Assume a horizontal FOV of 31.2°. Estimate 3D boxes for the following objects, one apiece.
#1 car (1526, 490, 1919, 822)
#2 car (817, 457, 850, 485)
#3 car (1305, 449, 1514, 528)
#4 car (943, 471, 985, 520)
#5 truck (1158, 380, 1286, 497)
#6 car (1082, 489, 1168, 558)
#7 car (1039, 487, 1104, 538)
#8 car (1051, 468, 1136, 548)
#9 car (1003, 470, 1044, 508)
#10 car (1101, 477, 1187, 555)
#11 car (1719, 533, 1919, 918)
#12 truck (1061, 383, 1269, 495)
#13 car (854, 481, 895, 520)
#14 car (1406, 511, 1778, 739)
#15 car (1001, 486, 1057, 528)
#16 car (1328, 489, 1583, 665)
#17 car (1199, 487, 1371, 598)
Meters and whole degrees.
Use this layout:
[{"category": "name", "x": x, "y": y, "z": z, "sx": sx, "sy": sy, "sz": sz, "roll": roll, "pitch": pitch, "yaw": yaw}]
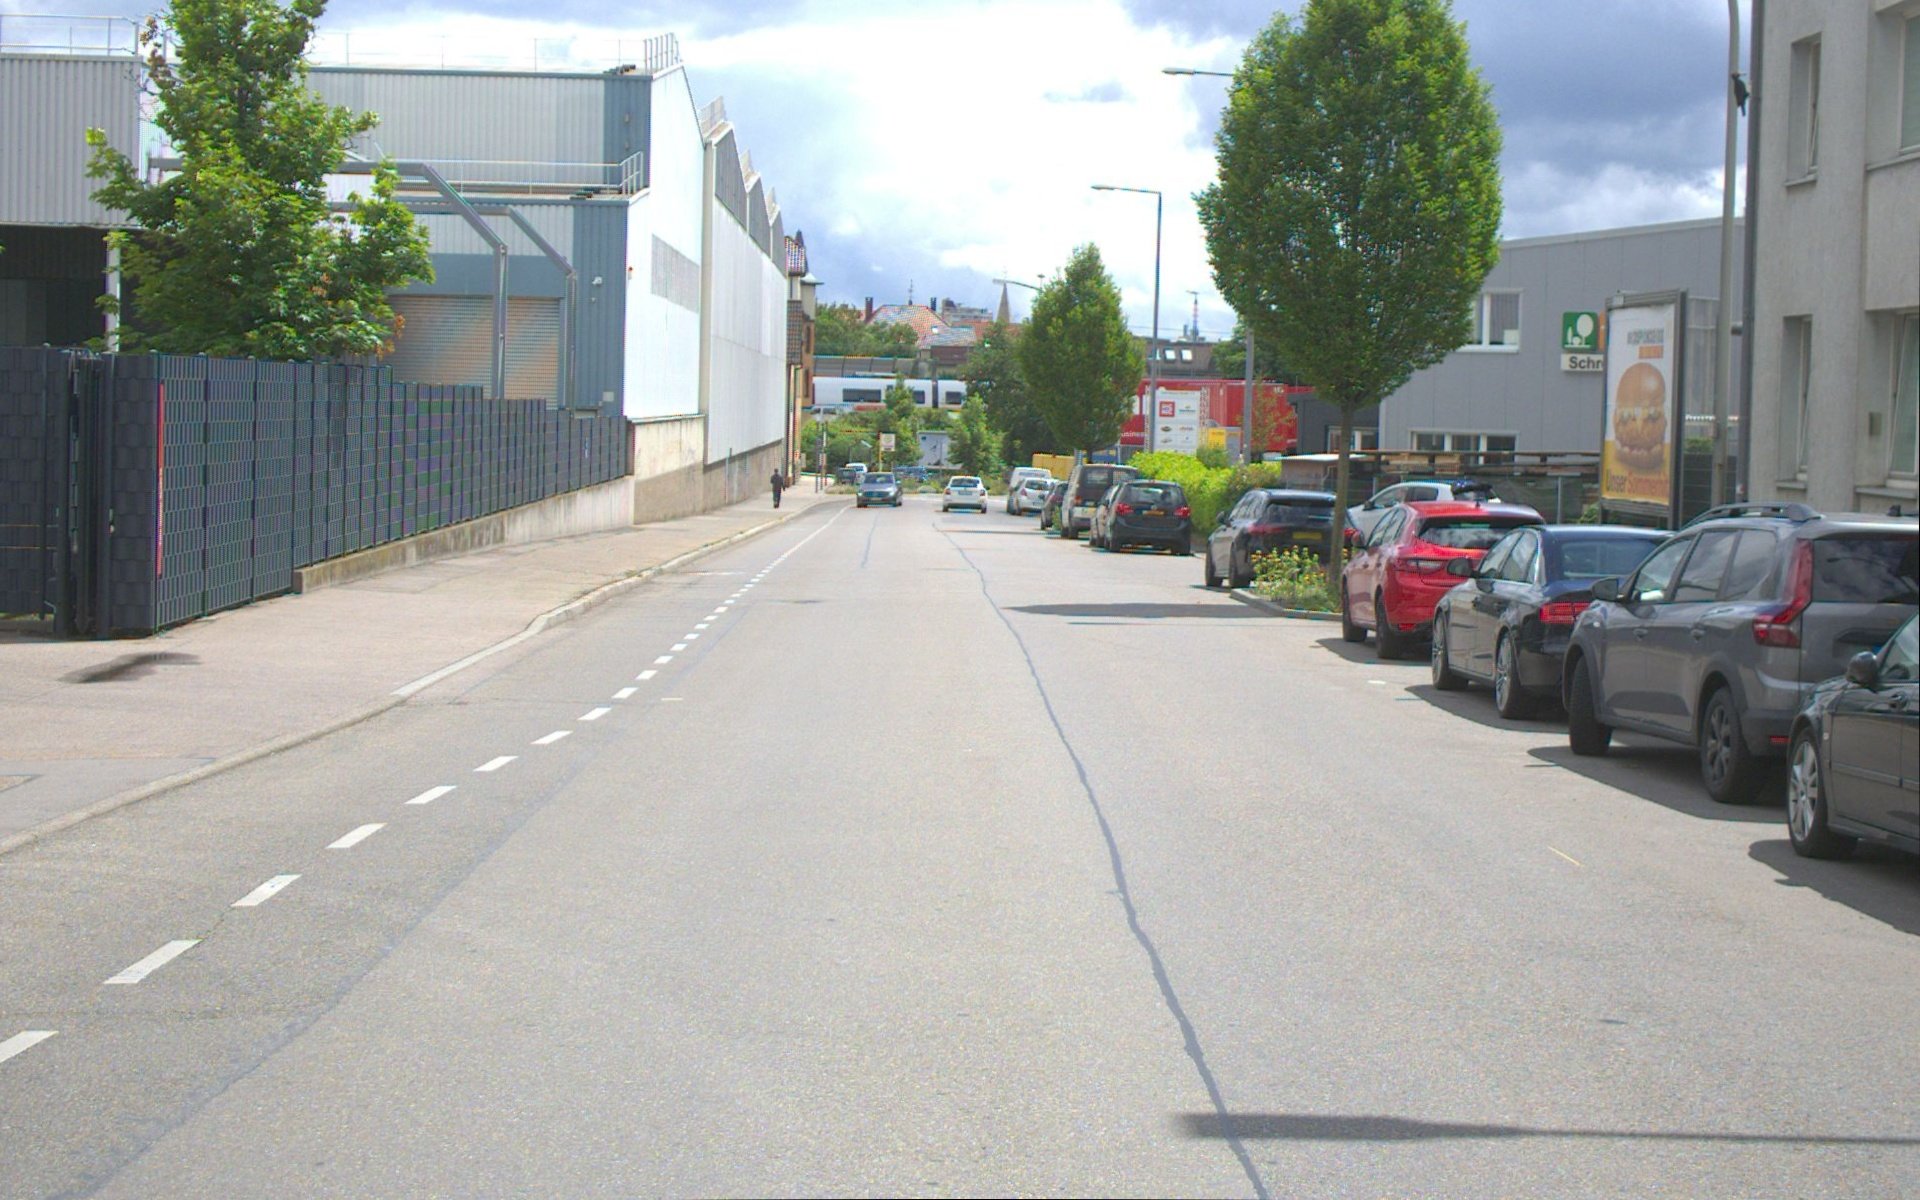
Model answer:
[{"category": "car", "x": 4.846, "y": 0.240, "z": 20.589, "sx": 1.676, "sy": 1.632, "sz": 4.798, "roll": 3, "pitch": 3, "yaw": -5}, {"category": "car", "x": -7.379, "y": -7.551, "z": 201.399, "sx": 1.852, "sy": 1.481, "sz": 4.000, "roll": 1, "pitch": 0, "yaw": -2}, {"category": "car", "x": 9.009, "y": -2.228, "z": 69.139, "sx": 1.720, "sy": 1.457, "sz": 4.073, "roll": -4, "pitch": 3, "yaw": -39}, {"category": "car", "x": 0.153, "y": -4.117, "z": 135.965, "sx": 1.567, "sy": 1.780, "sz": 3.606, "roll": 1, "pitch": 0, "yaw": -1}, {"category": "truck", "x": 10.737, "y": -6.568, "z": 141.551, "sx": 2.573, "sy": 4.434, "sz": 7.865, "roll": 1, "pitch": 0, "yaw": -16}, {"category": "car", "x": 3.834, "y": -1.804, "z": 80.529, "sx": 1.655, "sy": 1.535, "sz": 4.735, "roll": 1, "pitch": 2, "yaw": -1}, {"category": "car", "x": 3.359, "y": -2.657, "z": 104.123, "sx": 1.714, "sy": 1.468, "sz": 4.512, "roll": 1, "pitch": 2, "yaw": -1}, {"category": "car", "x": 3.477, "y": -2.422, "z": 90.313, "sx": 1.869, "sy": 1.983, "sz": 5.144, "roll": 1, "pitch": 2, "yaw": -1}, {"category": "car", "x": 2.672, "y": -4.699, "z": 145.350, "sx": 1.701, "sy": 1.522, "sz": 3.738, "roll": 1, "pitch": 2, "yaw": 1}, {"category": "car", "x": 4.012, "y": -1.844, "z": 75.391, "sx": 1.679, "sy": 1.632, "sz": 4.123, "roll": 1, "pitch": 2, "yaw": 1}, {"category": "car", "x": 4.839, "y": 0.575, "z": 14.959, "sx": 1.704, "sy": 1.505, "sz": 5.088, "roll": 3, "pitch": 3, "yaw": -2}, {"category": "truck", "x": 8.835, "y": -6.924, "z": 148.262, "sx": 8.458, "sy": 4.655, "sz": 2.580, "roll": 1, "pitch": 0, "yaw": 20}, {"category": "car", "x": -3.756, "y": -4.364, "z": 151.193, "sx": 1.719, "sy": 1.550, "sz": 4.288, "roll": -2, "pitch": 1, "yaw": -2}, {"category": "car", "x": 4.681, "y": 0.112, "z": 26.172, "sx": 1.735, "sy": 1.418, "sz": 4.861, "roll": 2, "pitch": 3, "yaw": -2}, {"category": "car", "x": 2.680, "y": -3.654, "z": 134.541, "sx": 1.701, "sy": 1.522, "sz": 3.739, "roll": 4, "pitch": 2, "yaw": -5}, {"category": "car", "x": 4.646, "y": -0.275, "z": 32.772, "sx": 1.735, "sy": 1.467, "sz": 4.262, "roll": 2, "pitch": 3, "yaw": -1}, {"category": "car", "x": 4.556, "y": -0.835, "z": 48.813, "sx": 1.791, "sy": 1.460, "sz": 4.709, "roll": 1, "pitch": 1, "yaw": -2}]
